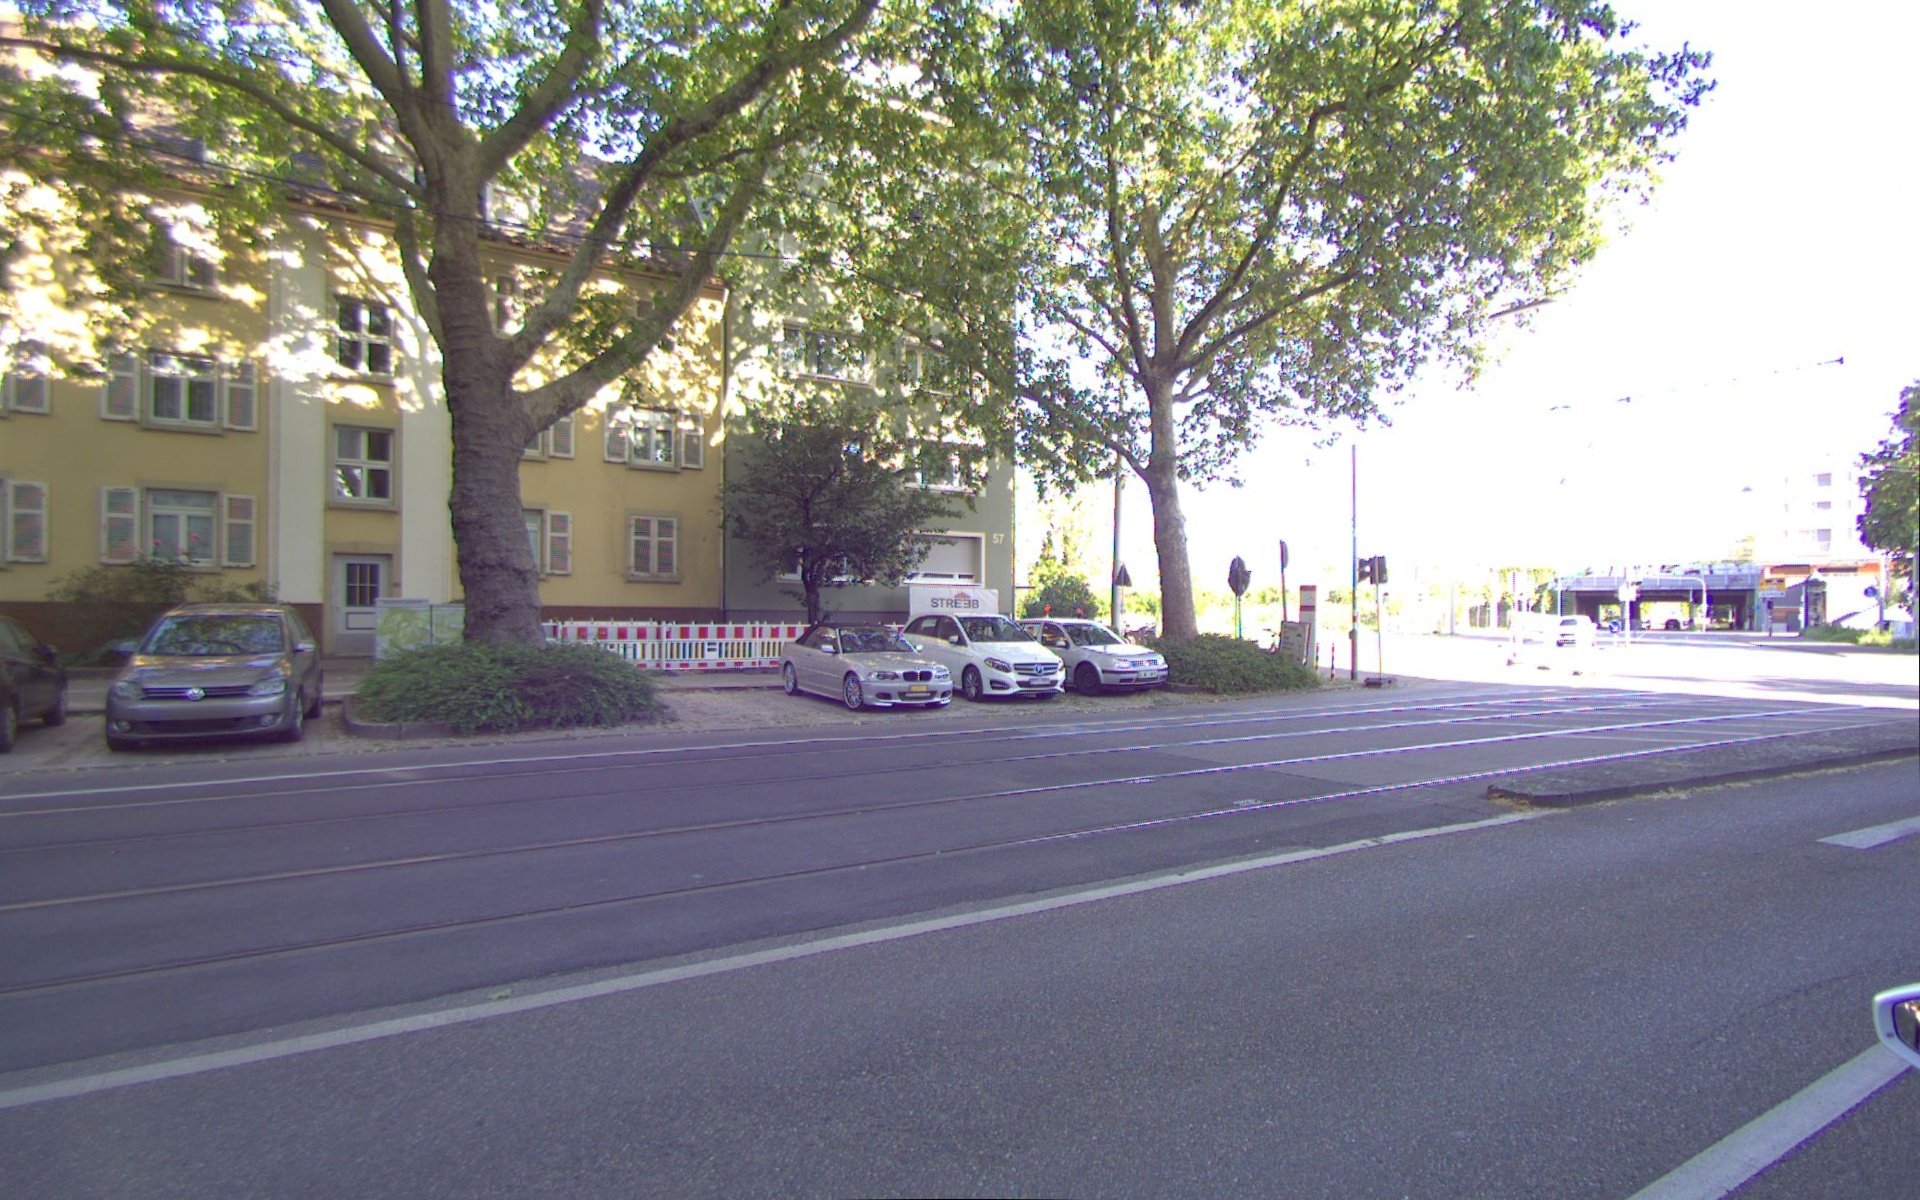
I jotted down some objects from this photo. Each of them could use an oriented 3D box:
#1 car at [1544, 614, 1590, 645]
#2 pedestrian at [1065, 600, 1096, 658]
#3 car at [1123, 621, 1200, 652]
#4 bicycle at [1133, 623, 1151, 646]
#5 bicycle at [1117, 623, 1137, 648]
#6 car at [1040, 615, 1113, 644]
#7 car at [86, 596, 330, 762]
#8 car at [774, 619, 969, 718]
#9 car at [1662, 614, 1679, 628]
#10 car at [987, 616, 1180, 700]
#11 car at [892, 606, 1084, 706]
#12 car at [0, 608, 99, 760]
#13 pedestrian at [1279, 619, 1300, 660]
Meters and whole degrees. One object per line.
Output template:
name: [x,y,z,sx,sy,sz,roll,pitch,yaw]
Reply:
car: [33.606,1.597,55.703,1.964,1.653,4.624,0,-1,28]
pedestrian: [3.363,0.804,28.104,0.592,1.589,0.741,0,0,33]
car: [11.579,2.064,57.820,3.933,1.439,1.887,0,5,35]
bicycle: [6.240,1.180,34.494,0.351,0.769,1.781,0,-1,1]
bicycle: [5.396,1.128,32.372,0.351,0.769,1.781,0,-1,18]
car: [7.056,1.756,61.054,3.933,1.439,1.887,0,5,35]
car: [-8.968,0.813,12.342,1.822,1.641,4.052,2,0,-29]
car: [-1.650,1.088,17.295,1.822,1.387,4.052,2,0,-29]
car: [109.052,3.274,154.203,1.966,2.040,3.989,2,0,34]
car: [2.415,1.118,20.568,1.688,1.436,3.960,2,0,-36]
car: [0.414,0.985,19.186,1.822,1.633,4.052,2,0,-29]
car: [-11.405,0.863,11.430,1.673,1.466,3.834,2,0,-29]
pedestrian: [13.318,1.599,40.599,0.591,1.617,0.682,2,0,35]
